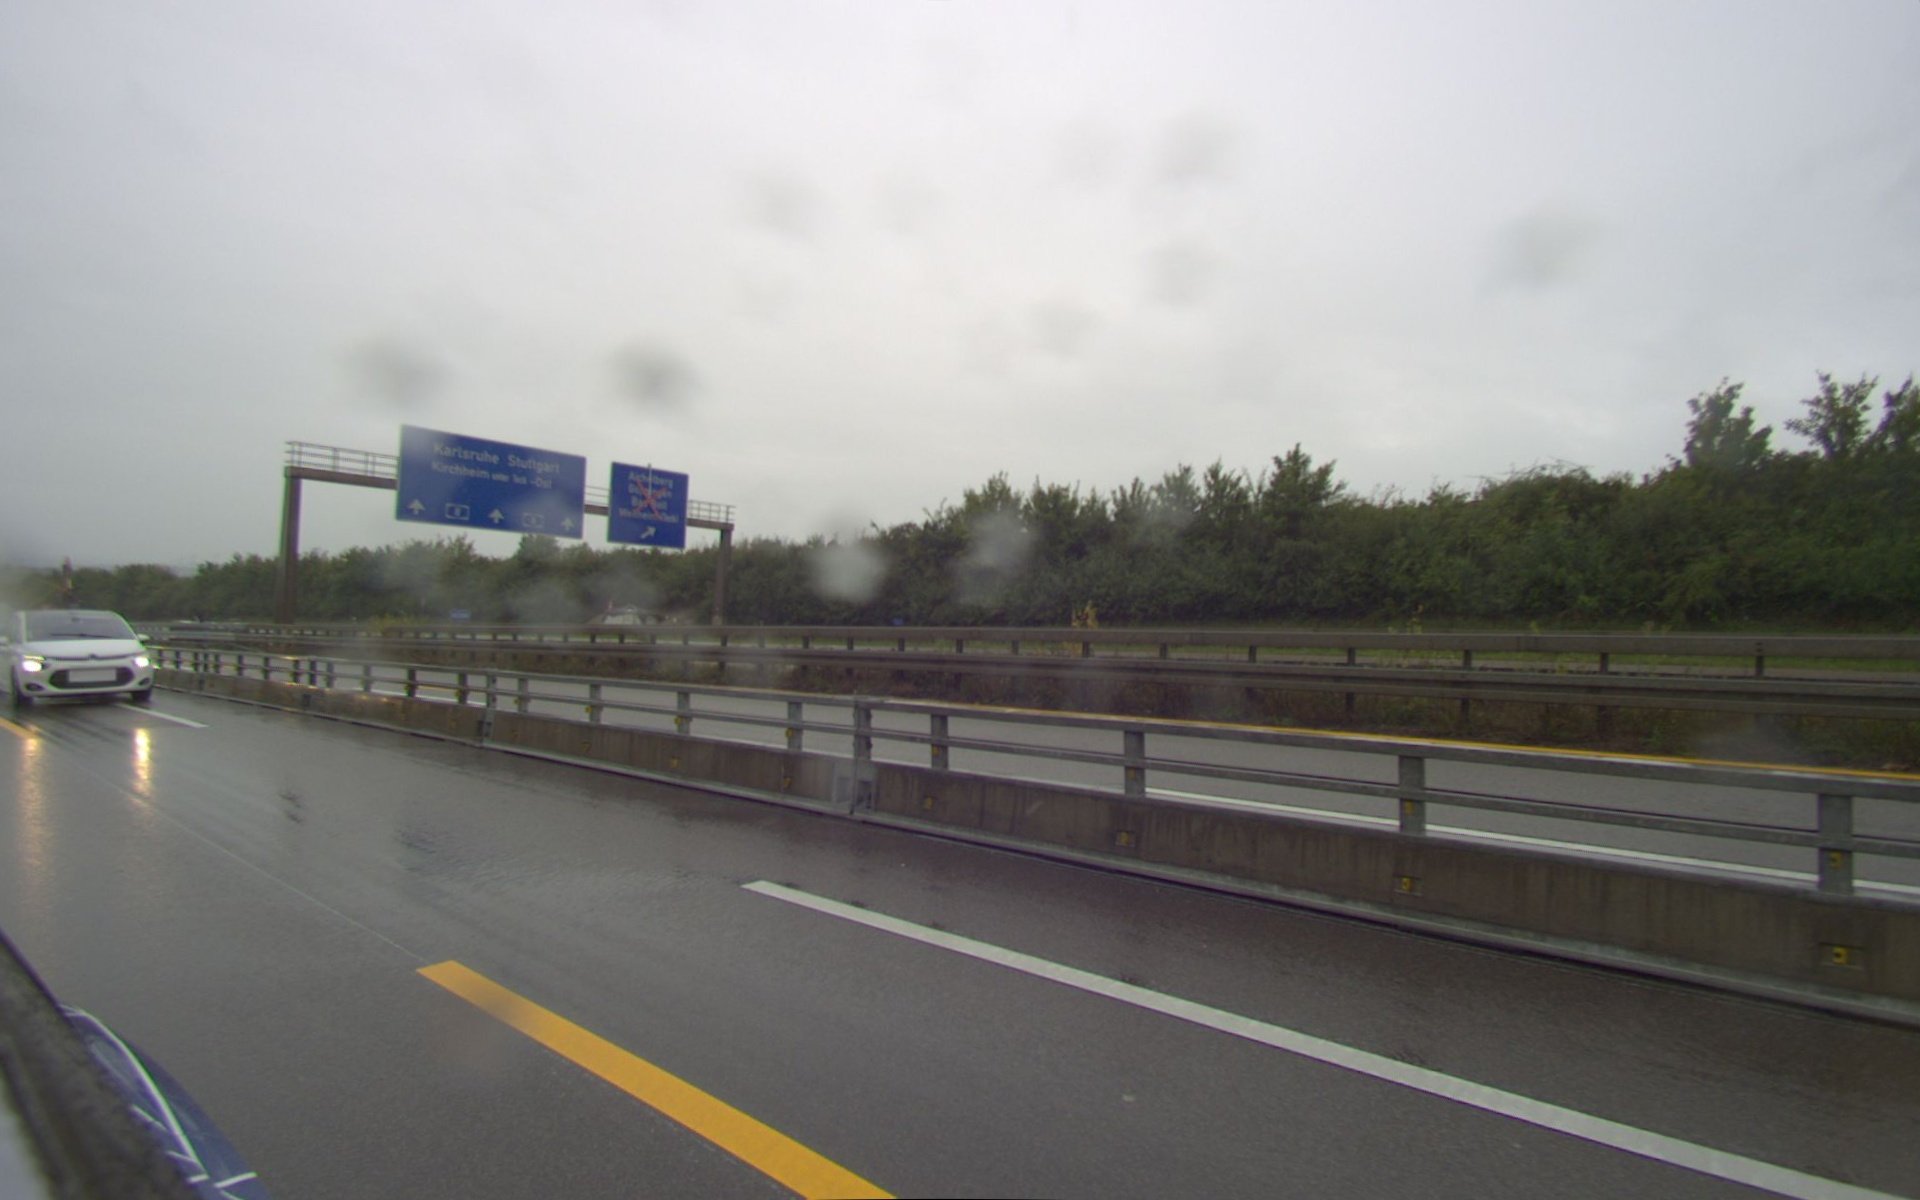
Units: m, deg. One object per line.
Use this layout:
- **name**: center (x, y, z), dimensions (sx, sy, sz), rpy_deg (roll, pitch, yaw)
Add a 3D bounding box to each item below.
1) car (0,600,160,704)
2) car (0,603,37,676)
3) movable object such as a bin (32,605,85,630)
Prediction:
- **car**: center (-15.743, 0.874, 17.827), dimensions (4.308, 1.608, 1.952), rpy_deg (-3, -2, 43)
- **car**: center (-29.273, 1.148, 29.930), dimensions (5.559, 2.029, 2.184), rpy_deg (-1, 0, 40)
- **movable object such as a bin**: center (-107.908, 2.106, 121.150), dimensions (6.322, 2.819, 3.729), rpy_deg (-1, 0, 38)
